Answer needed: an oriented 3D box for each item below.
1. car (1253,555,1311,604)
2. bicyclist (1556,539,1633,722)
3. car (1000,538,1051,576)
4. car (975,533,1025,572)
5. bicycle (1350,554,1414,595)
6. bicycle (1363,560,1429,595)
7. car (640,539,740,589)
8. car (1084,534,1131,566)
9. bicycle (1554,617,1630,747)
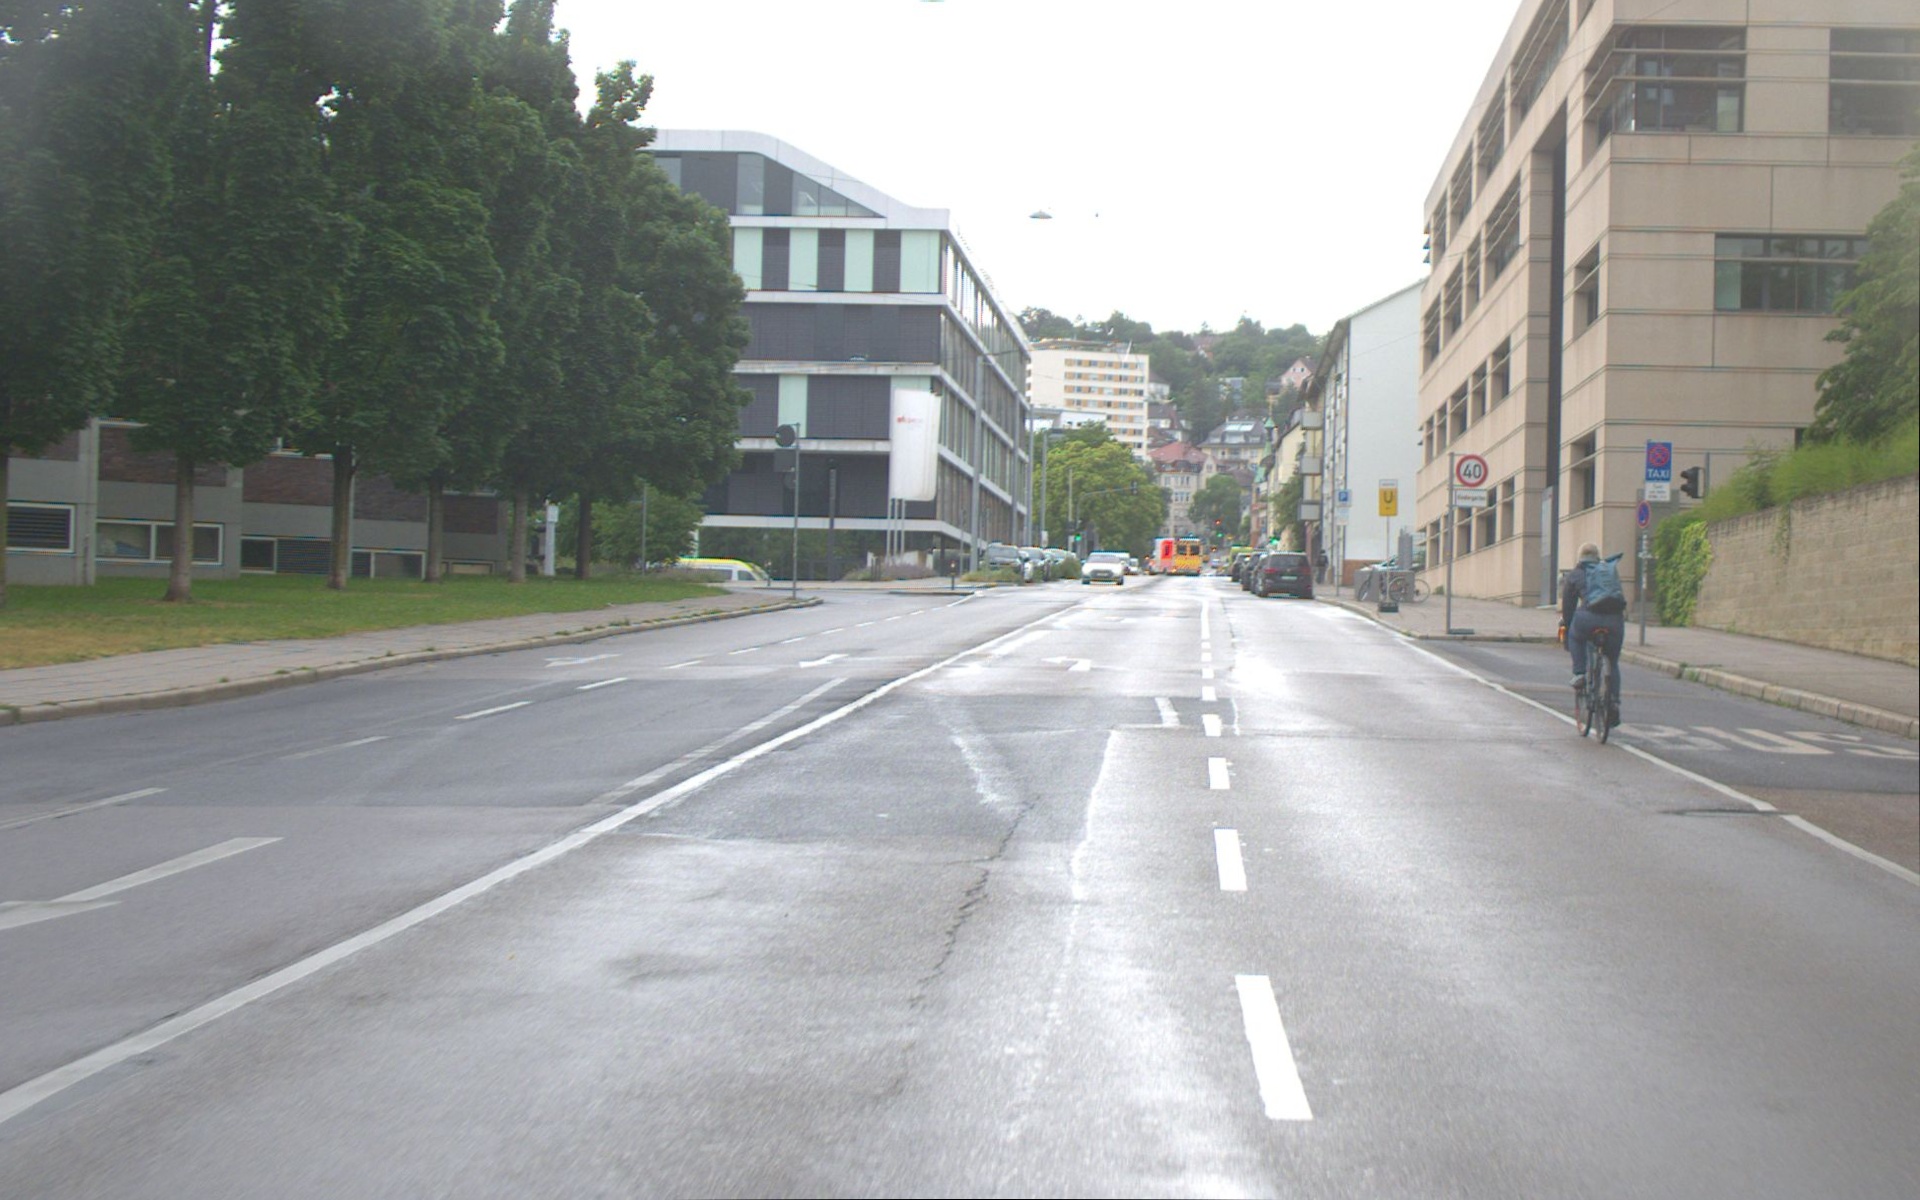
[{"bbox_3d":[11.346,-0.724,121.465,1.771,1.598,4.394,3,1,3],"label":"car"},{"bbox_3d":[5.101,0.242,27.669,0.484,1.428,0.930,3,0,6],"label":"bicyclist"},{"bbox_3d":[3.185,-2.072,167.114,1.963,1.744,4.940,3,1,6],"label":"car"},{"bbox_3d":[1.744,-2.059,150.259,1.849,1.612,4.490,3,1,4],"label":"car"},{"bbox_3d":[12.092,-0.733,98.547,1.729,1.115,0.660,2,0,-1],"label":"bicycle"},{"bbox_3d":[12.375,-0.634,97.543,1.758,0.950,0.660,2,0,1],"label":"bicycle"},{"bbox_3d":[-12.848,-1.726,163.774,4.589,2.167,1.931,3,0,-2],"label":"car"},{"bbox_3d":[7.065,-2.389,163.872,1.882,1.486,5.218,0,1,6],"label":"car"},{"bbox_3d":[5.082,0.644,27.702,0.447,0.960,1.689,2,1,6],"label":"bicycle"}]
